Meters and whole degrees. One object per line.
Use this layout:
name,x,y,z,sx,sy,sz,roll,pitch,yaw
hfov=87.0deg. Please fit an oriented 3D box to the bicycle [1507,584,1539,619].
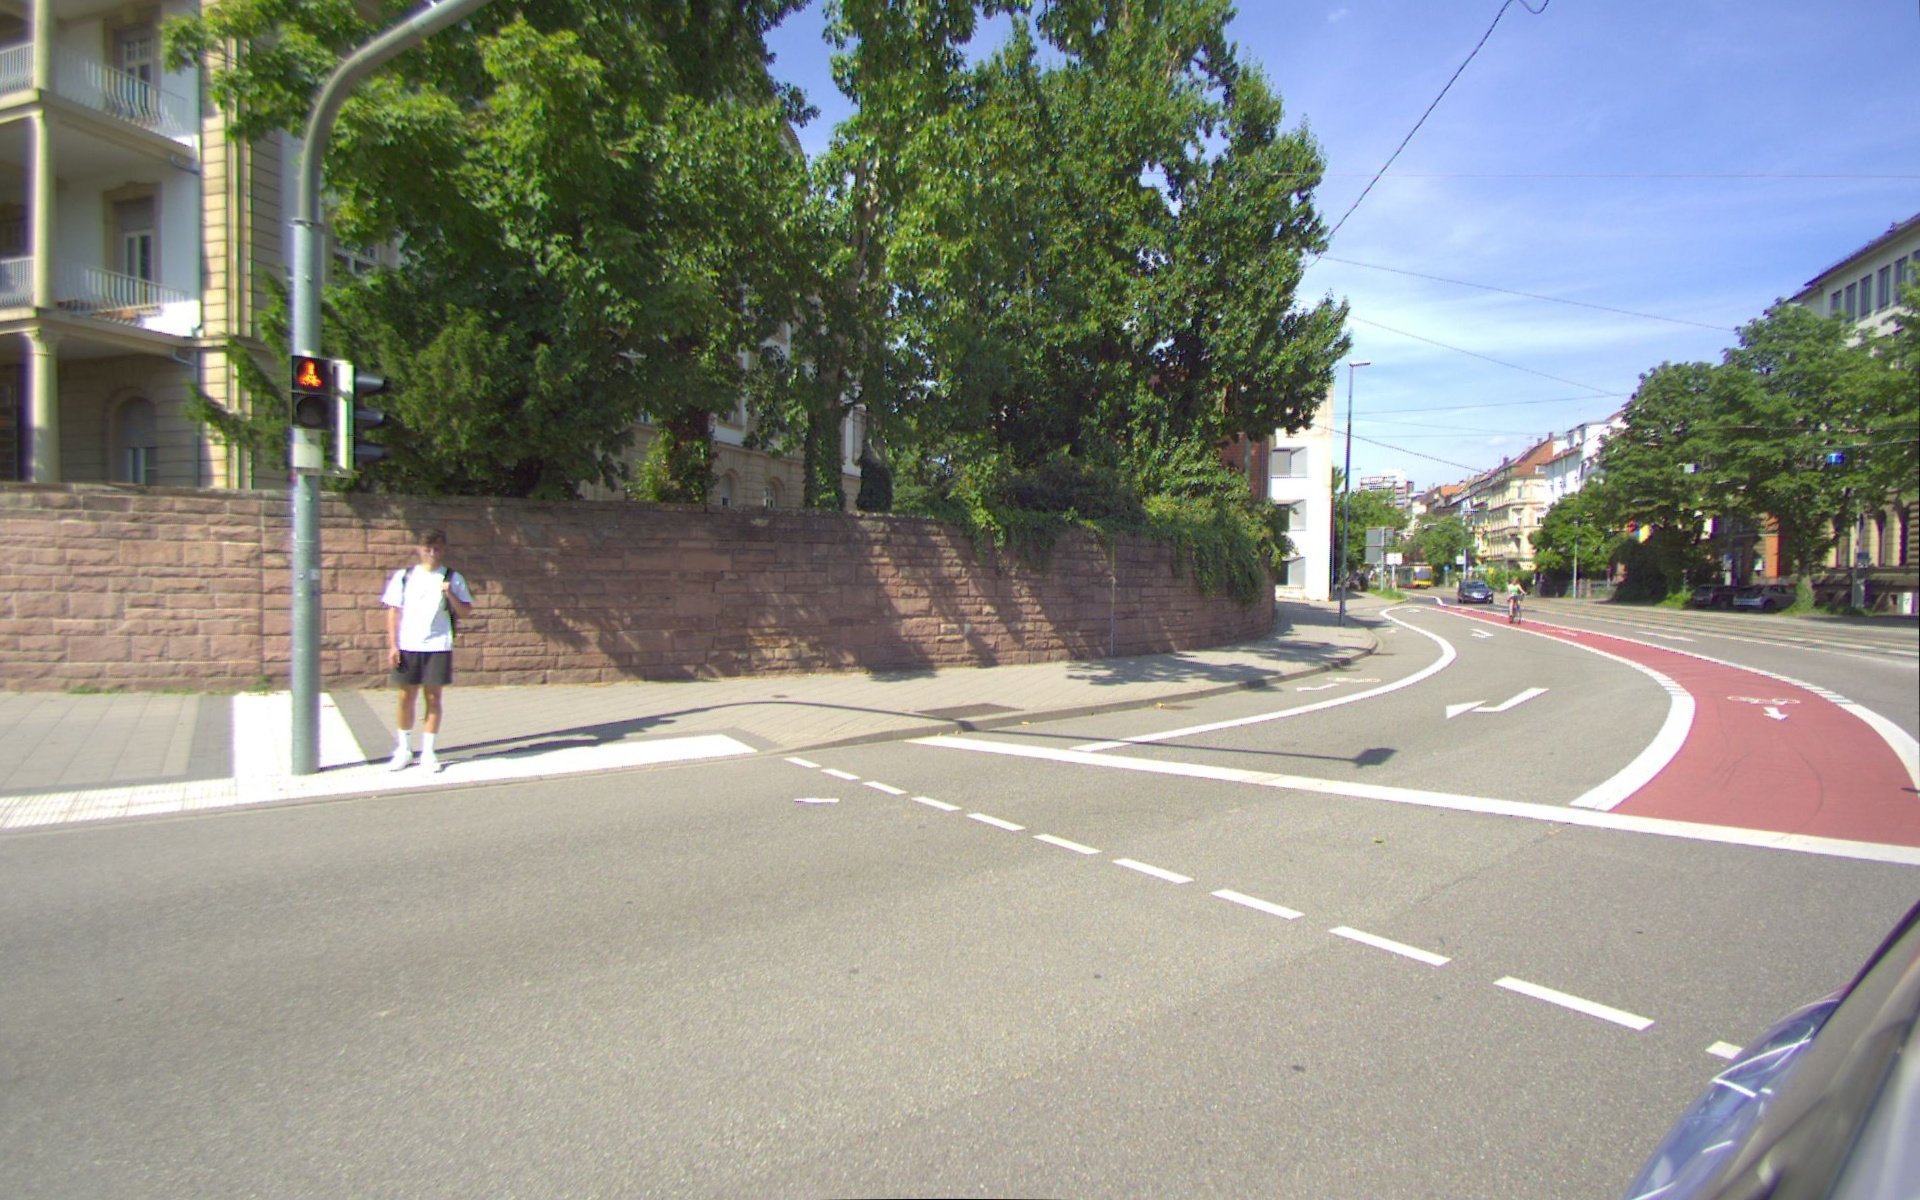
bicycle,20.829,0.028,37.459,0.678,1.237,2.172,2,2,20

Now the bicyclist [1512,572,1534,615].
bicyclist,20.813,-0.258,37.439,0.581,1.567,0.925,-1,0,22

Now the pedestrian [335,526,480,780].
pedestrian,-4.407,0.380,8.088,0.650,1.897,0.786,4,3,35

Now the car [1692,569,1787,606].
car,46.671,-0.760,60.678,3.947,2.038,1.989,2,2,18

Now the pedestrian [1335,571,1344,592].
pedestrian,28.310,-1.380,75.469,0.542,1.587,0.926,1,1,18

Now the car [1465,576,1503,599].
car,33.648,-0.846,65.081,1.782,1.393,4.245,1,2,23

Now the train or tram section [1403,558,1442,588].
train or tram section,62.544,-3.650,137.257,3.174,3.908,14.503,2,2,18

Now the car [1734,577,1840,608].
car,45.103,-0.435,55.291,3.947,1.482,1.989,2,2,18
